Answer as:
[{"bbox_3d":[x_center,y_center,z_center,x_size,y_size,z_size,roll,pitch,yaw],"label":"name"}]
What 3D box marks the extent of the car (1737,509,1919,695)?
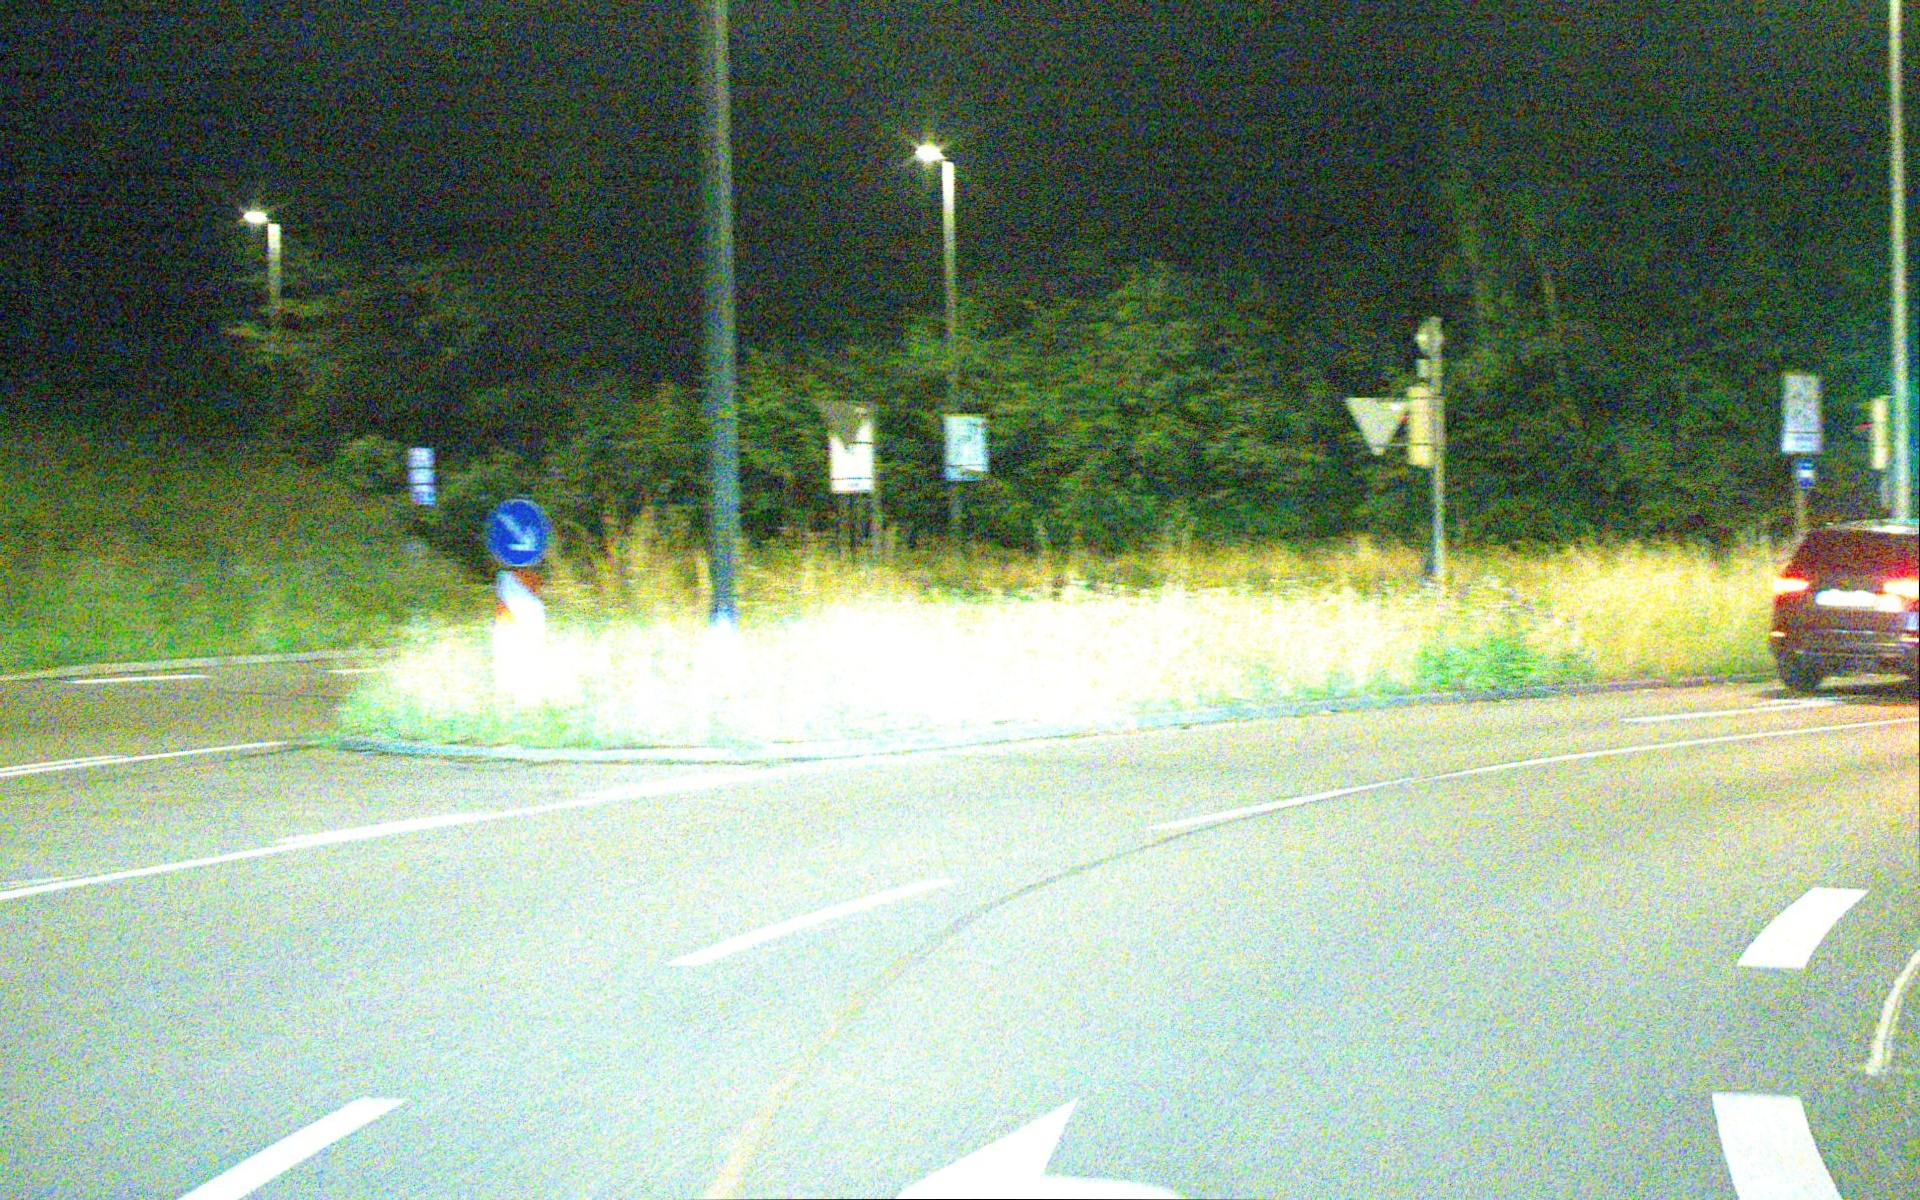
[{"bbox_3d":[9.033,-0.022,31.738,1.856,1.577,3.997,3,3,42],"label":"car"}]
